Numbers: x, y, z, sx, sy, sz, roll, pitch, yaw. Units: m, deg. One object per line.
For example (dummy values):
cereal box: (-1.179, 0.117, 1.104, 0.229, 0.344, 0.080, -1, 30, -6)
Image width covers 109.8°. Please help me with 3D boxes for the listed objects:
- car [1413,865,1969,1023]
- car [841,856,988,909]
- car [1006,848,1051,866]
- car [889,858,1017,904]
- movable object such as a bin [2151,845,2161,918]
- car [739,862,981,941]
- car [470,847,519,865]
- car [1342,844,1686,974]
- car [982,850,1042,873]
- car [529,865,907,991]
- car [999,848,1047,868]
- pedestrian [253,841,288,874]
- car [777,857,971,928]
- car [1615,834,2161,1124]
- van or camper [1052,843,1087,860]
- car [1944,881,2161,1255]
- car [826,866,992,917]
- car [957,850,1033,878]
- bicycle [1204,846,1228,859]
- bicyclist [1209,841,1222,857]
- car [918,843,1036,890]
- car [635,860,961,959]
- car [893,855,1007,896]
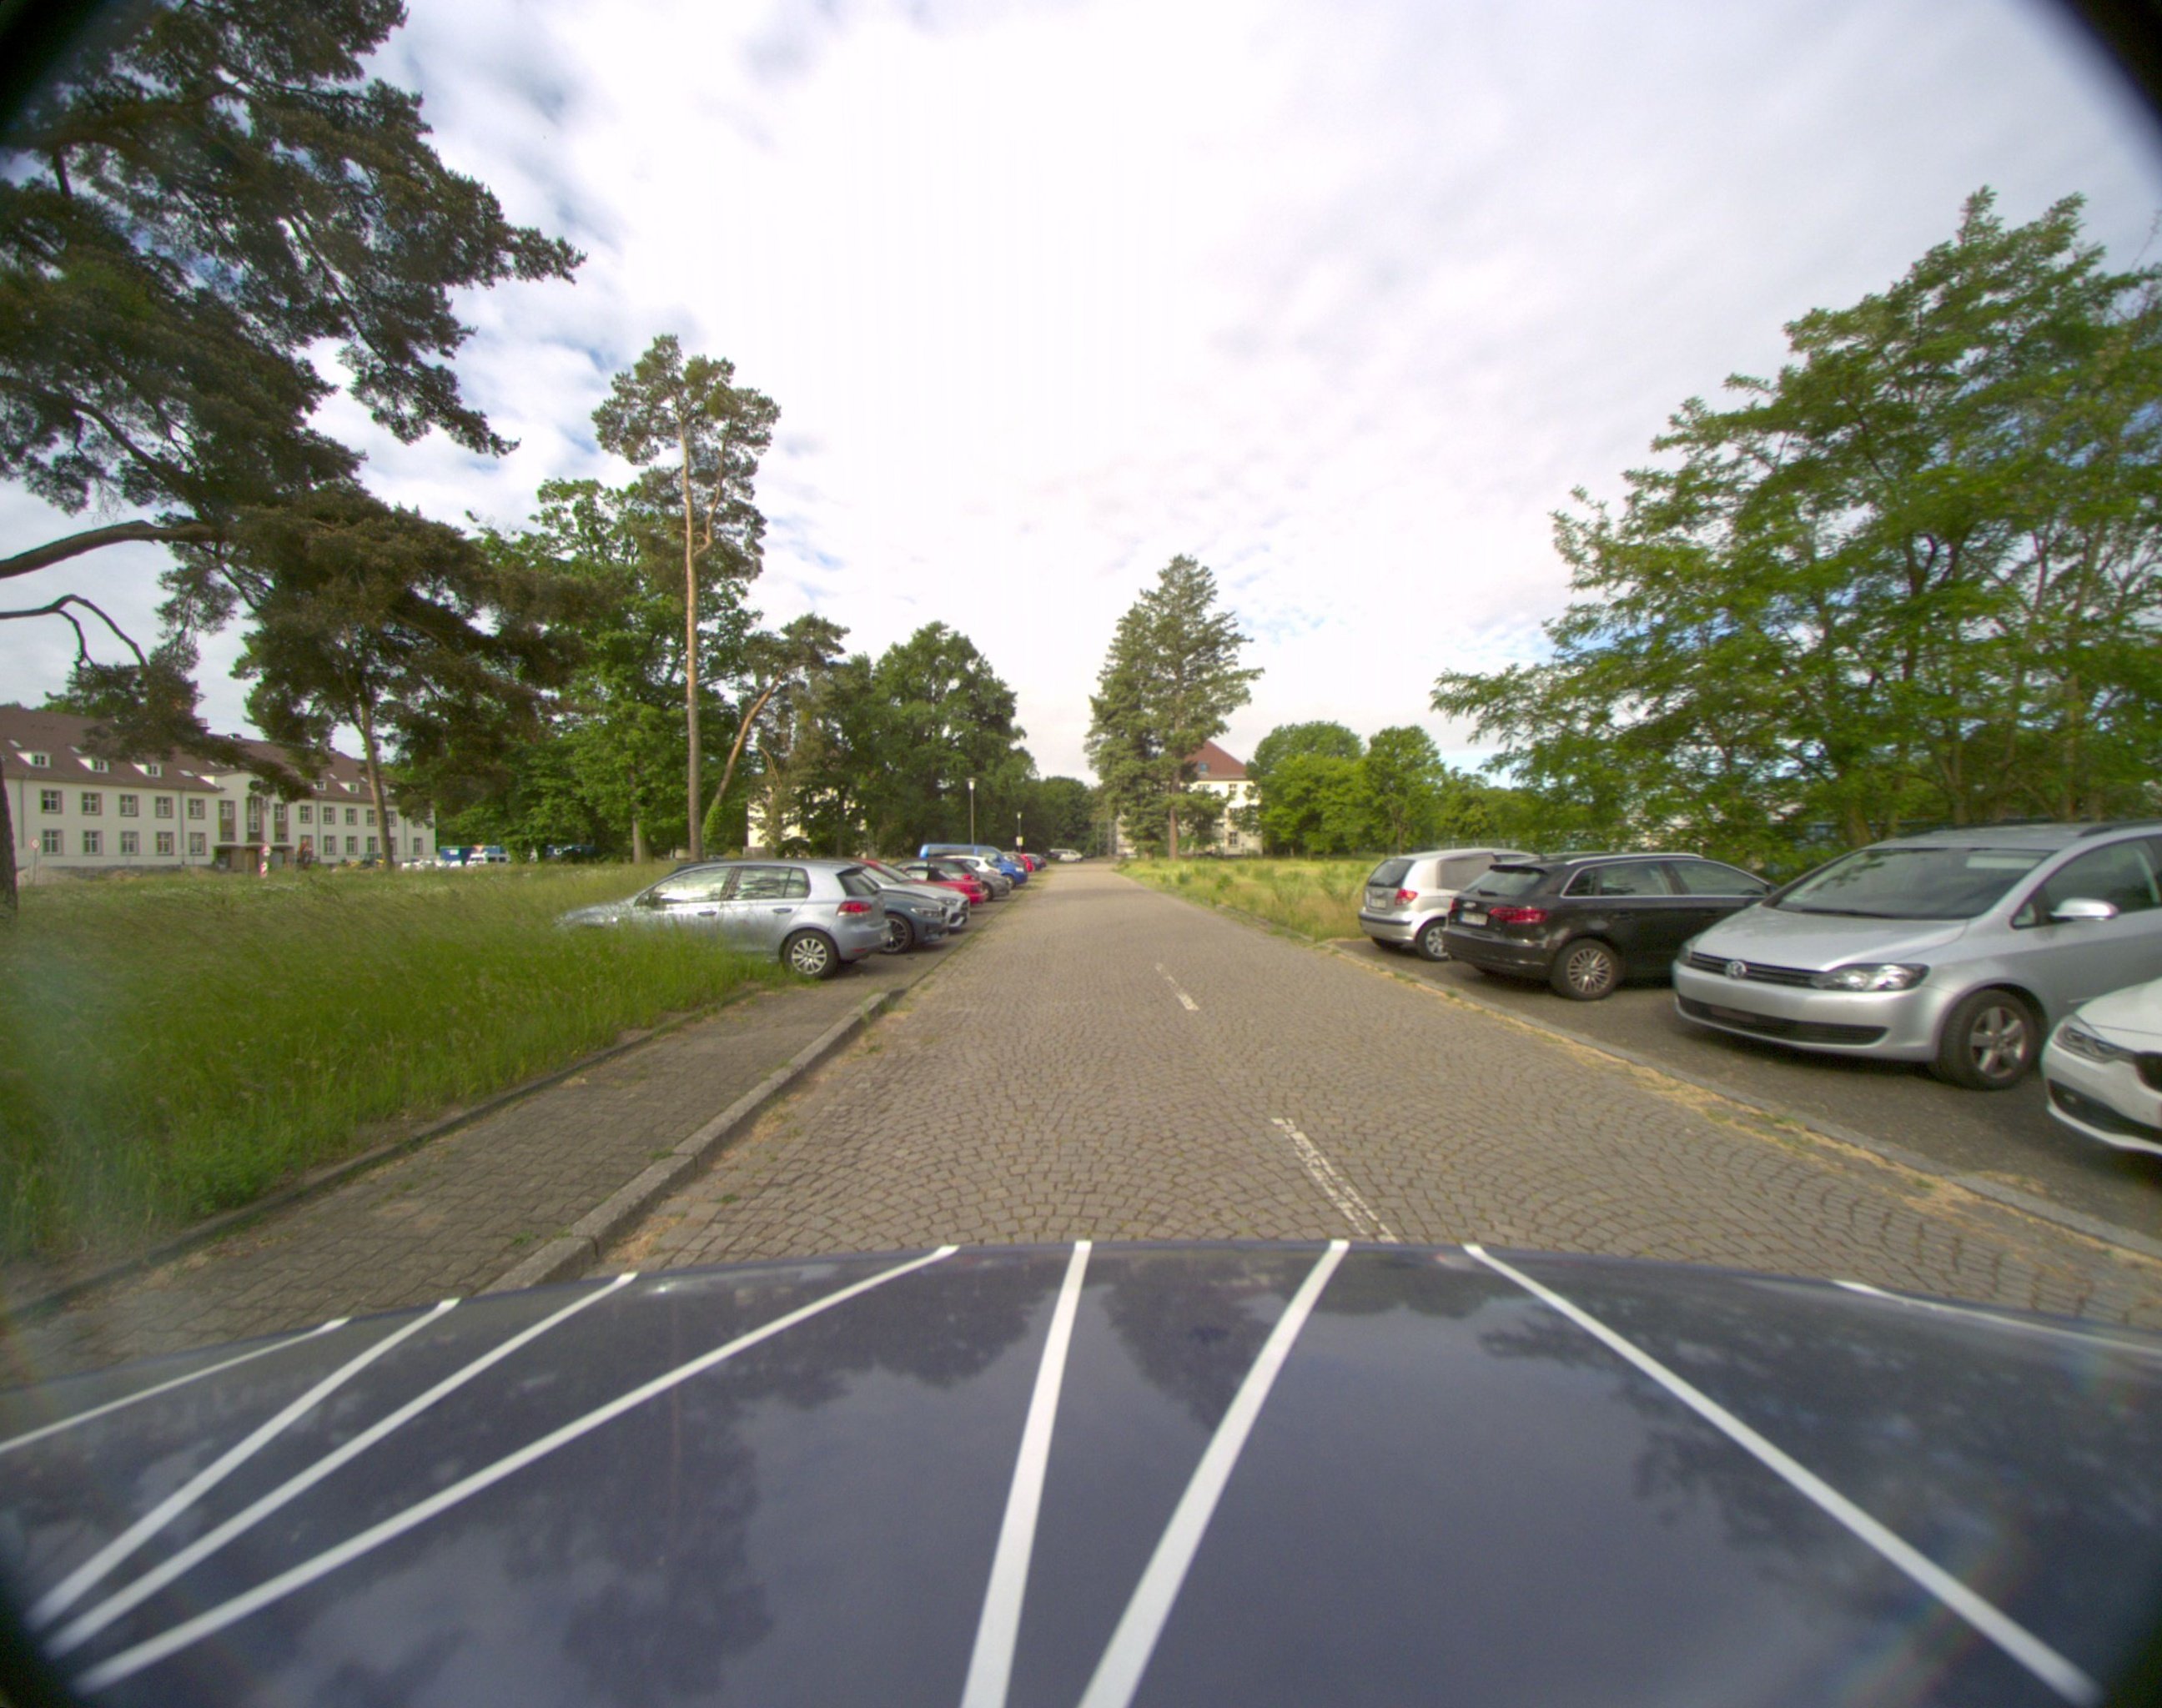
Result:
car: (6.329, 0.866, 8.258, 4.633, 1.414, 1.884, 0, 1, -3)
car: (-4.863, 0.828, 22.558, 3.933, 1.467, 1.796, 0, 1, 1)
car: (-4.625, 0.247, 67.549, 3.791, 1.615, 2.000, 0, 1, 1)
car: (-4.171, 0.858, 25.258, 3.933, 1.427, 1.796, 0, 1, 0)
movable object such as a bin: (19.239, 0.453, 12.186, 2.537, 1.205, 1.170, -1, 1, -1)
car: (-4.269, 0.900, 15.154, 4.266, 1.437, 1.797, 0, 1, 2)
car: (-68.950, 0.219, 89.405, 2.166, 2.002, 4.833, -1, 1, -2)
car: (6.079, 0.711, 10.922, 3.985, 1.448, 1.680, -4, 1, -5)
car: (-4.756, 0.497, 52.760, 3.998, 1.560, 1.999, 0, 1, -4)
car: (-4.478, 0.886, 9.836, 3.997, 1.410, 1.796, 0, 1, 1)
car: (-4.787, 0.308, 63.068, 3.791, 1.560, 2.000, 0, 1, 1)
pedestrian: (-55.033, 0.236, 51.575, 1.184, 2.165, 1.055, 0, 1, 0)
car: (-4.687, 0.857, 17.594, 3.932, 1.504, 1.797, 0, 1, 2)
car: (6.756, 0.715, 5.570, 4.486, 1.581, 1.846, -2, 1, -4)
van or camper: (-1.800, -0.394, 116.598, 5.249, 2.449, 2.208, -1, 1, -3)
car: (6.774, 0.793, 2.958, 4.819, 1.431, 1.913, -3, 1, -3)
car: (-4.418, 0.959, 19.943, 3.933, 1.227, 1.796, 0, 1, 1)
car: (-4.751, 0.550, 42.466, 3.996, 1.496, 1.869, 0, 1, 2)
bicycle: (15.851, -0.138, 89.239, 2.673, 1.496, 1.273, 0, 1, 5)
bicyclist: (15.805, -0.583, 89.232, 1.318, 1.857, 1.250, 0, 1, 5)
car: (-4.525, 0.530, 33.535, 4.839, 2.002, 2.000, 0, 1, 4)
car: (-4.433, 0.847, 12.430, 4.630, 1.437, 1.796, 0, 1, 0)
car: (-4.811, 0.785, 28.303, 3.933, 1.441, 1.796, 0, 1, 0)
